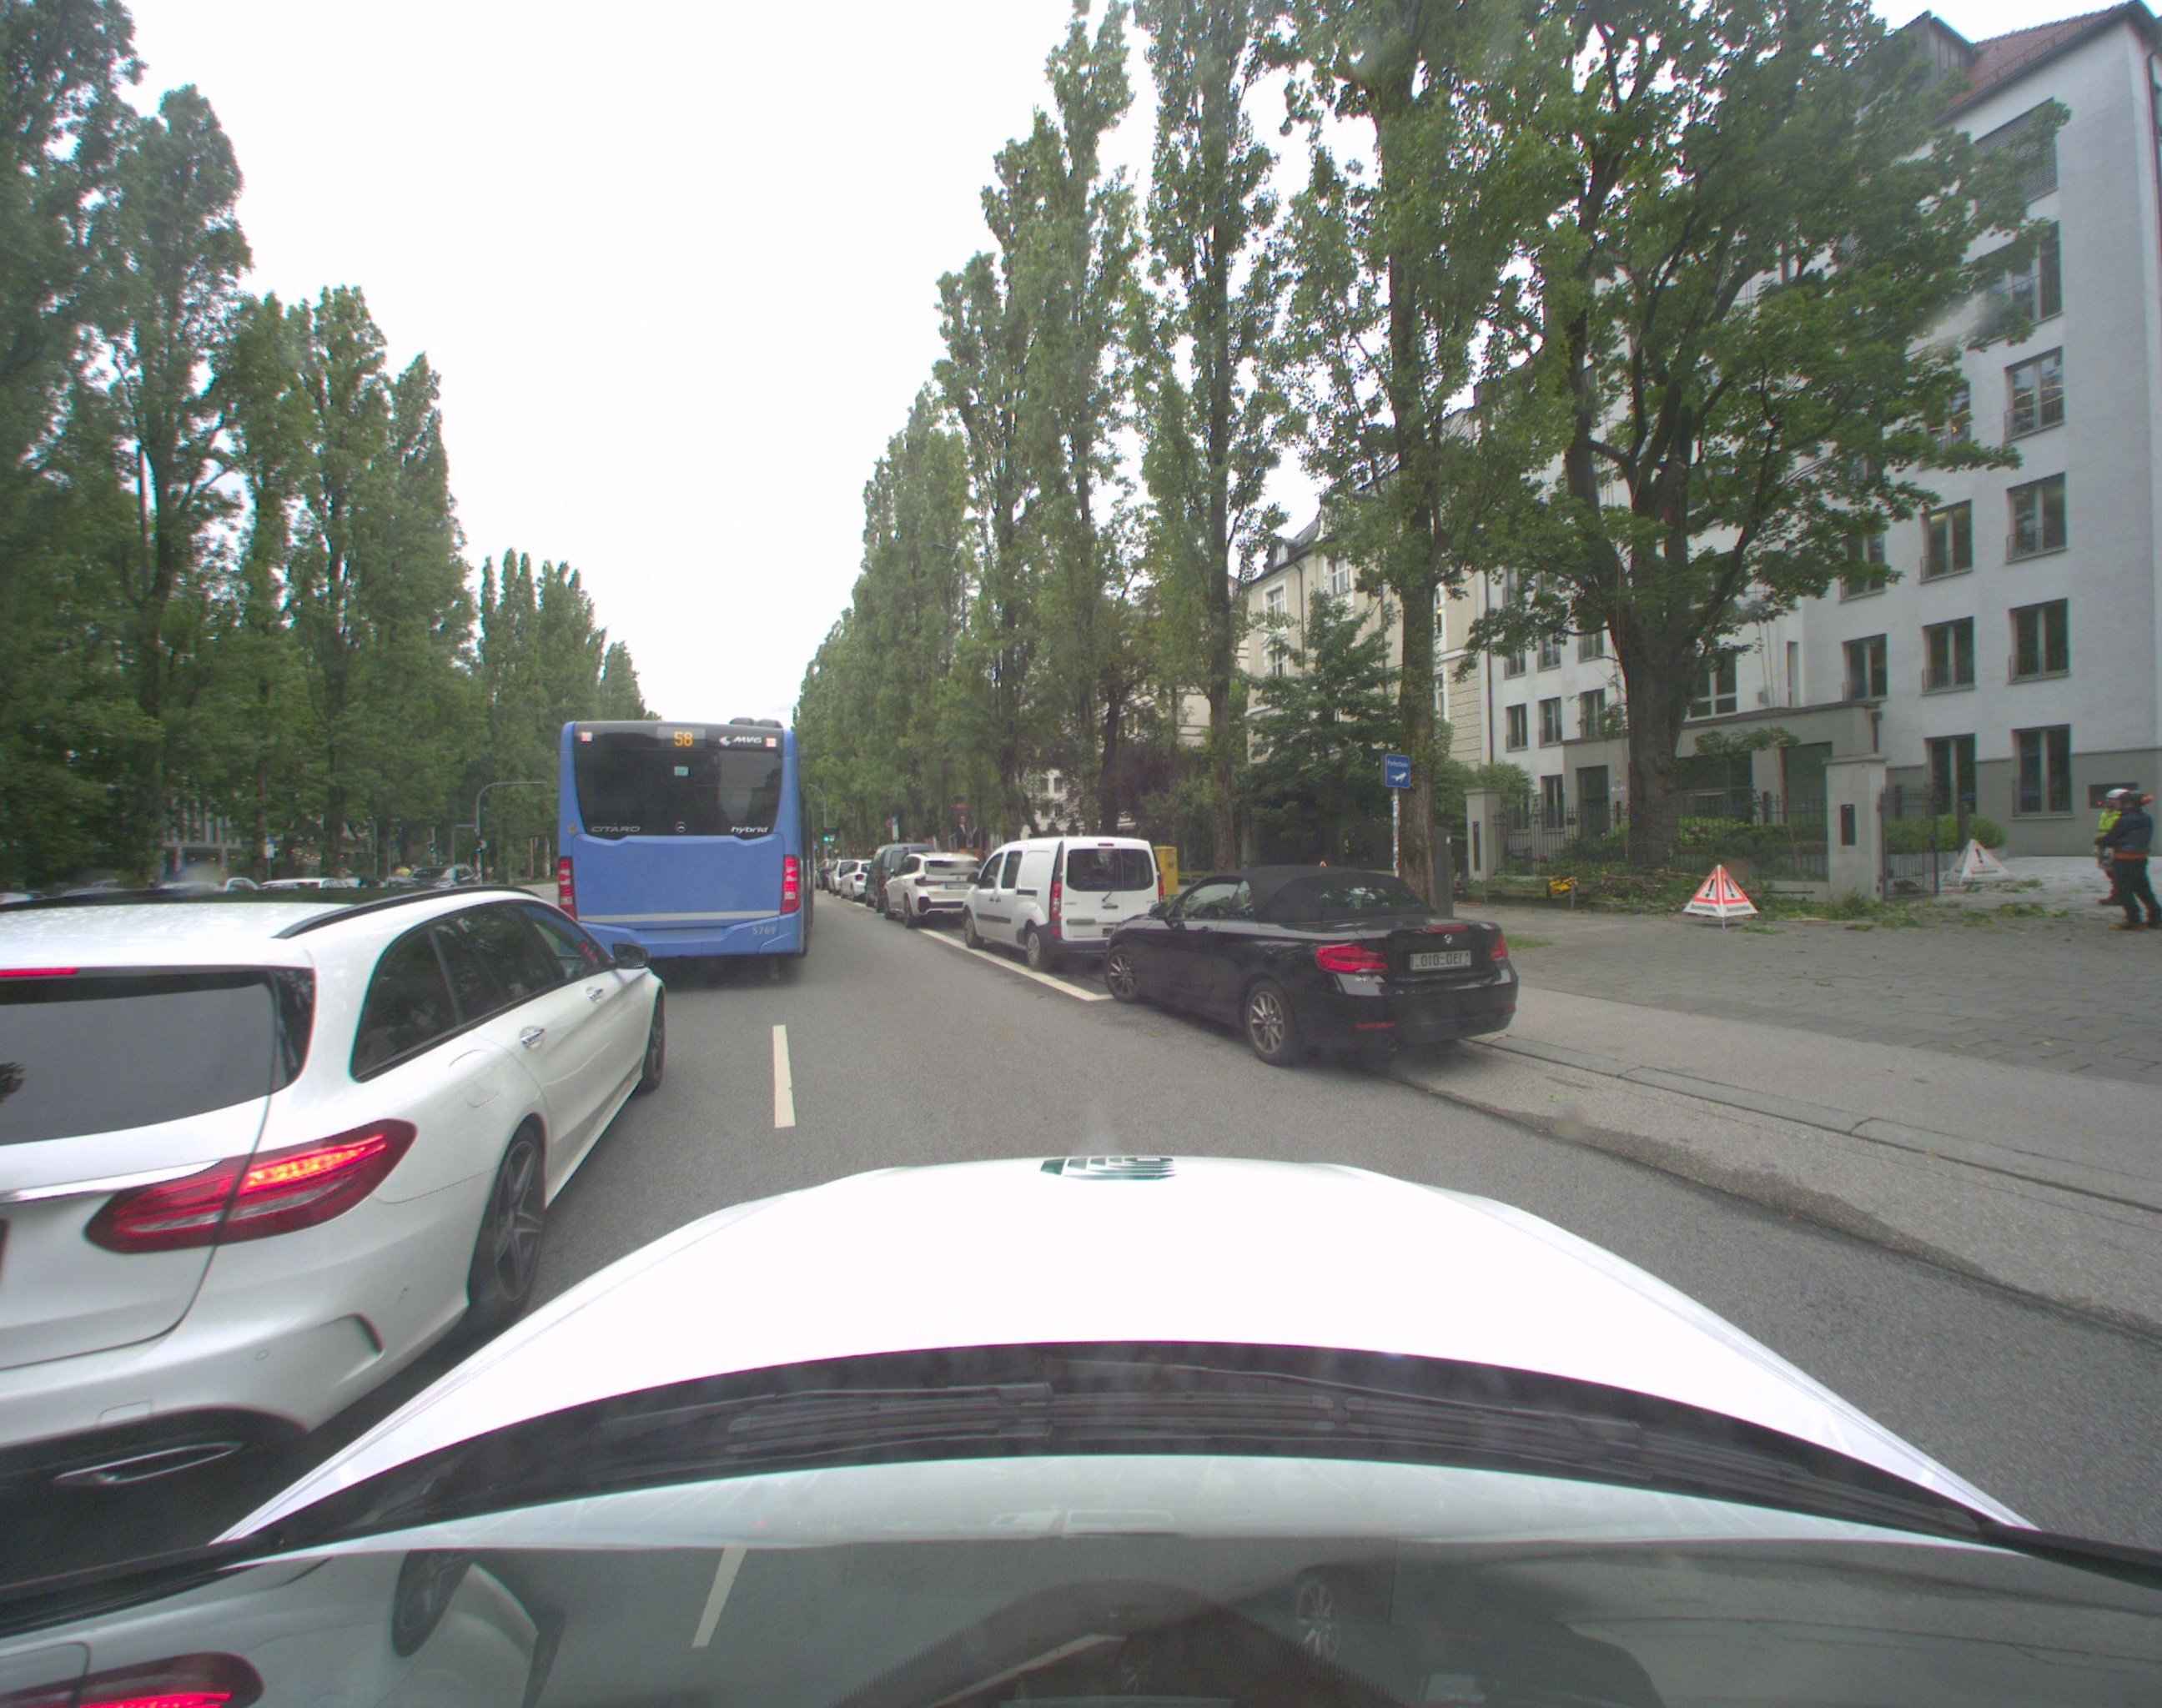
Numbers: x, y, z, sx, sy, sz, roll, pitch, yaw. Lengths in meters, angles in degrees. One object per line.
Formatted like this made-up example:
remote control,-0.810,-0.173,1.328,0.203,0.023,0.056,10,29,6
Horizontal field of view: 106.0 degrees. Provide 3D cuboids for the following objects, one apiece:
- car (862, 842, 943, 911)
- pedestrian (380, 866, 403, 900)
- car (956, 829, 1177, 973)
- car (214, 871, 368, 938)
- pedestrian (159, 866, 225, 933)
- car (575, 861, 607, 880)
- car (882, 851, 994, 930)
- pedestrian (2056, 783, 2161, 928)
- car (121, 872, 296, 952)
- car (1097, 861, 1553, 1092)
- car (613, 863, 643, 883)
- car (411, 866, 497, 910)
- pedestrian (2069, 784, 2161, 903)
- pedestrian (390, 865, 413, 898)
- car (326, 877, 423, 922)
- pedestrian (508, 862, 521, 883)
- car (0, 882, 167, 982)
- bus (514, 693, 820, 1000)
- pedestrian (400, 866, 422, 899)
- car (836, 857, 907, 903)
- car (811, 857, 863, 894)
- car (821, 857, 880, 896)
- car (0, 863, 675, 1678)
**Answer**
car,-5.250,0.593,23.628,1.710,1.836,3.971,0,0,-22
pedestrian,-42.336,1.765,49.989,0.834,2.013,0.771,-2,0,-25
car,-0.428,0.597,12.301,1.842,1.773,4.196,1,-1,-24
car,-21.490,1.294,22.369,1.716,1.548,3.968,-2,0,-24
pedestrian,-24.469,1.224,22.439,0.826,1.764,1.072,-2,0,-26
car,-42.078,1.423,69.976,1.830,1.486,3.968,-2,0,-24
car,-3.397,0.740,18.738,1.685,1.596,4.056,0,0,-23
pedestrian,14.023,0.016,10.911,0.932,1.866,0.774,-2,0,5
car,-19.985,1.258,18.841,1.416,1.552,3.418,-2,0,-22
car,1.721,0.768,7.165,1.753,1.354,3.971,-1,0,-22
car,-37.977,1.584,68.351,1.830,1.486,3.968,-2,0,-24
car,-25.196,1.327,32.880,1.714,1.552,3.970,-2,0,-22
pedestrian,16.872,-0.176,13.280,0.775,1.854,0.827,-2,0,-29
pedestrian,-36.569,1.479,43.857,0.706,1.736,0.803,-2,0,-25
car,-23.746,1.479,27.515,1.294,1.273,3.820,-2,0,-22
pedestrian,-56.197,1.840,80.802,0.834,2.013,0.771,-2,0,-27
car,-18.003,1.311,13.975,1.547,1.433,3.838,-5,2,-24
bus,-5.850,-0.104,13.254,2.863,3.213,9.007,-1,0,-17
pedestrian,-41.608,1.750,50.573,0.834,2.013,0.771,-2,0,-25
car,-7.625,0.869,29.447,1.807,1.475,3.968,-2,0,-24
car,-11.675,0.968,38.837,1.817,1.618,3.968,-2,0,-24
car,-9.711,0.883,34.105,1.794,1.491,3.968,-2,0,-24
car,-3.065,0.785,3.500,1.832,1.454,4.552,-1,0,-20
